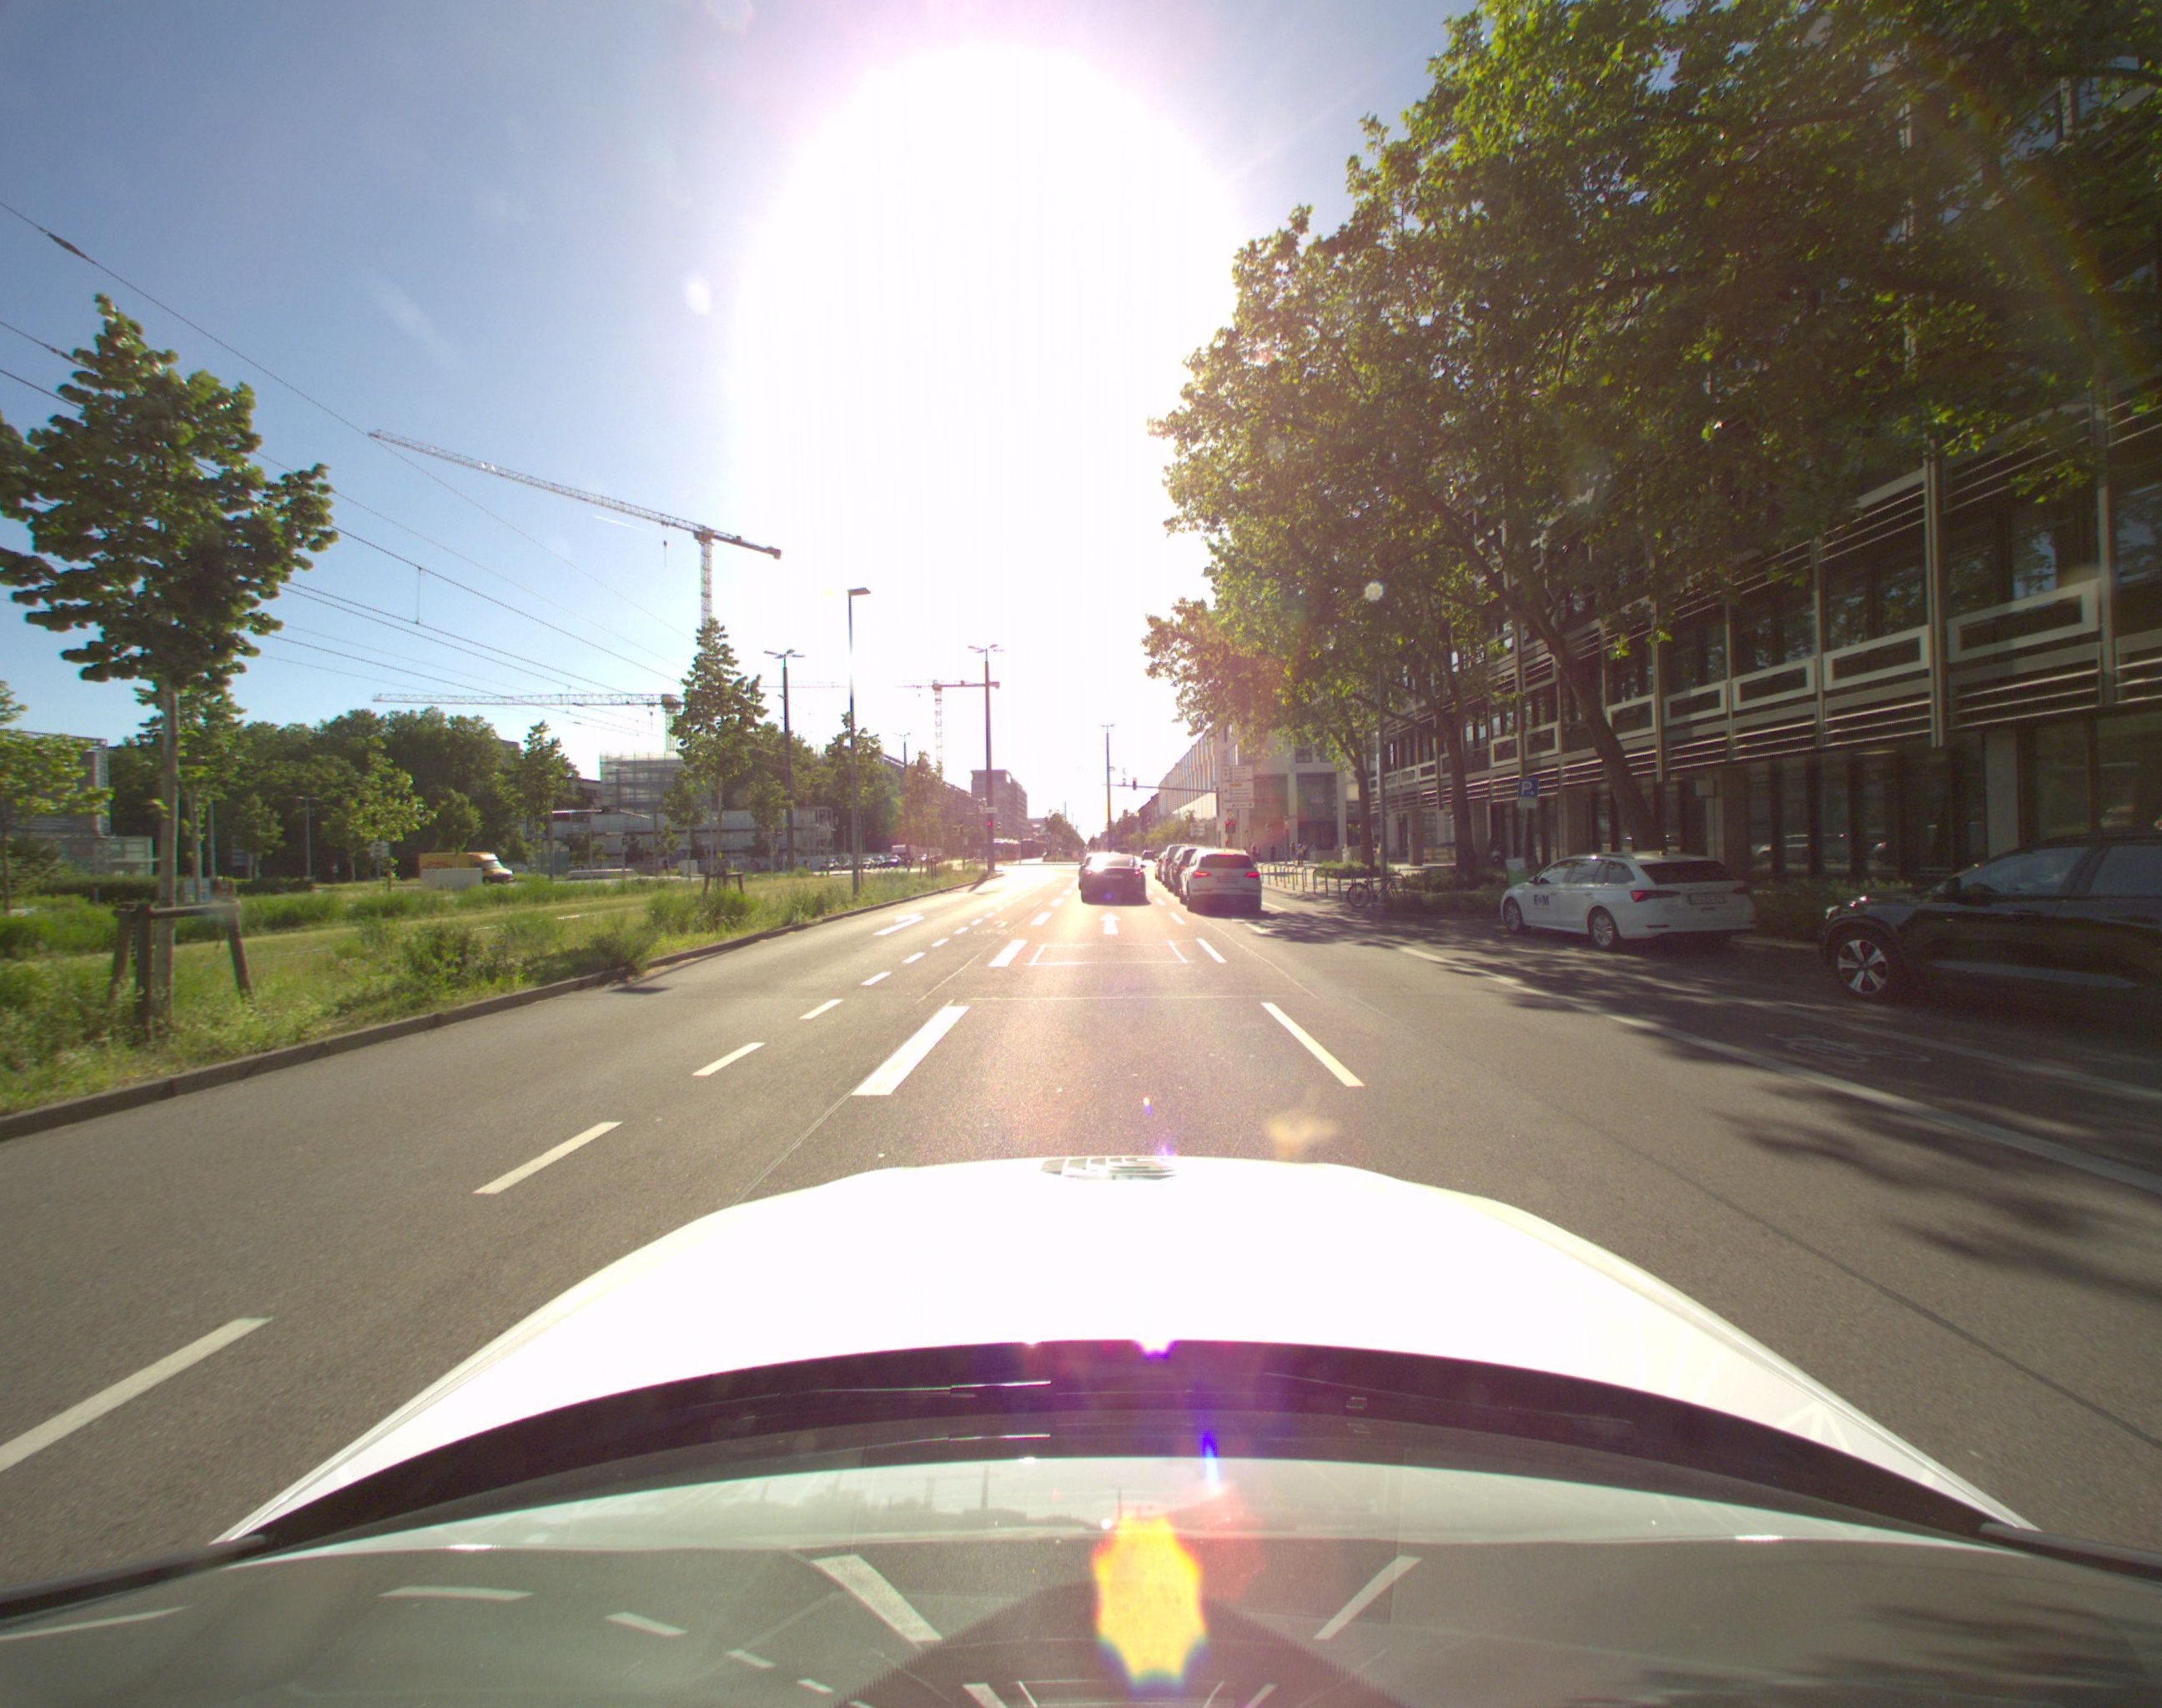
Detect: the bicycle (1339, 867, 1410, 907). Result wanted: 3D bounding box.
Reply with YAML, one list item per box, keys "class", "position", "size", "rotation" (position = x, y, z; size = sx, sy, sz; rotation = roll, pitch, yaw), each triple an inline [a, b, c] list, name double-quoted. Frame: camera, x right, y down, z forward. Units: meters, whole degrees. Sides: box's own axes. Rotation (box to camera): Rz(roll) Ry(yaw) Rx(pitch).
- class: "bicycle"
  position: [7.809, 0.864, 21.680]
  size: [1.689, 0.957, 0.478]
  rotation: [-3, 0, -3]

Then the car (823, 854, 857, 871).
- class: "car"
  position: [-16.994, 0.599, 57.560]
  size: [1.371, 1.178, 3.221]
  rotation: [1, -1, 1]

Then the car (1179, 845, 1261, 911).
- class: "car"
  position: [3.696, 0.572, 22.262]
  size: [1.714, 1.618, 4.190]
  rotation: [-1, 0, 3]

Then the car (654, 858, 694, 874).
- class: "car"
  position: [-38.961, 1.139, 78.108]
  size: [1.704, 1.556, 4.002]
  rotation: [1, -1, 2]

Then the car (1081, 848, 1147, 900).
- class: "car"
  position: [1.015, 0.572, 25.960]
  size: [1.905, 1.486, 4.010]
  rotation: [-1, 0, 1]

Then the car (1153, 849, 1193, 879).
- class: "car"
  position: [4.697, 0.487, 41.950]
  size: [1.715, 1.431, 4.189]
  rotation: [-1, 0, 2]

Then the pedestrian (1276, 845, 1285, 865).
- class: "pedestrian"
  position: [14.232, 0.072, 57.993]
  size: [0.559, 1.440, 0.633]
  rotation: [0, -1, 8]

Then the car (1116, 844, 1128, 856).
- class: "car"
  position: [6.940, -0.651, 139.036]
  size: [1.986, 2.014, 4.002]
  rotation: [1, -1, 2]

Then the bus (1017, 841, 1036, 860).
- class: "bus"
  position: [-8.866, -0.566, 134.061]
  size: [2.620, 2.959, 9.894]
  rotation: [1, -1, -1]

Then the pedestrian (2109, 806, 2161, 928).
- class: "pedestrian"
  position: [14.291, 0.160, 10.809]
  size: [0.505, 1.584, 0.633]
  rotation: [-1, 0, -7]

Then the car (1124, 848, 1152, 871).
- class: "car"
  position: [3.807, 0.352, 54.885]
  size: [1.715, 1.431, 4.189]
  rotation: [-1, 0, 2]

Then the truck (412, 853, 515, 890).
- class: "truck"
  position: [-51.245, 1.415, 67.700]
  size: [6.940, 2.963, 2.000]
  rotation: [1, -1, 0]

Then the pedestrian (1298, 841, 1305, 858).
- class: "pedestrian"
  position: [18.270, -0.370, 67.481]
  size: [0.559, 1.440, 0.633]
  rotation: [0, -1, 8]

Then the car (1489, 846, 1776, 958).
- class: "car"
  position: [8.637, 0.627, 13.358]
  size: [1.697, 1.492, 4.603]
  rotation: [-1, 0, 2]

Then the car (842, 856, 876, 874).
- class: "car"
  position: [-15.190, 0.743, 55.964]
  size: [1.371, 1.178, 3.221]
  rotation: [1, -1, 1]

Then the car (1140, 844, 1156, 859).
- class: "car"
  position: [9.310, -0.292, 113.358]
  size: [1.986, 2.014, 4.002]
  rotation: [1, -1, 2]

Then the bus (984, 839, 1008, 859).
- class: "bus"
  position: [-12.185, -0.701, 117.210]
  size: [2.620, 2.783, 8.840]
  rotation: [1, -1, -1]

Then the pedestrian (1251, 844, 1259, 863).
- class: "pedestrian"
  position: [13.035, -0.035, 61.147]
  size: [0.559, 1.440, 0.633]
  rotation: [0, -1, 8]

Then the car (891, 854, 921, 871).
- class: "car"
  position: [-12.249, 0.598, 57.129]
  size: [1.371, 1.178, 3.221]
  rotation: [1, -1, 1]

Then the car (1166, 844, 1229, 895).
- class: "car"
  position: [4.060, 0.488, 29.024]
  size: [1.715, 1.653, 4.187]
  rotation: [-1, 0, 1]

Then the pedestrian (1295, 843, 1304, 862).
- class: "pedestrian"
  position: [16.287, -0.103, 60.808]
  size: [0.559, 1.440, 0.633]
  rotation: [0, -1, 8]

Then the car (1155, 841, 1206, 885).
- class: "car"
  position: [4.314, 0.335, 35.704]
  size: [1.716, 1.782, 4.186]
  rotation: [-1, 0, 0]

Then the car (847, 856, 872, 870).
- class: "car"
  position: [-26.501, 1.082, 97.615]
  size: [1.830, 1.612, 3.896]
  rotation: [1, -1, 1]

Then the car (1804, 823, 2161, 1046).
- class: "car"
  position: [8.437, 0.542, 6.496]
  size: [1.697, 1.563, 4.194]
  rotation: [-1, 0, 2]

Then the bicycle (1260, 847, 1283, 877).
- class: "bicycle"
  position: [9.209, 0.389, 39.417]
  size: [0.560, 1.440, 2.576]
  rotation: [1, -1, 1]
